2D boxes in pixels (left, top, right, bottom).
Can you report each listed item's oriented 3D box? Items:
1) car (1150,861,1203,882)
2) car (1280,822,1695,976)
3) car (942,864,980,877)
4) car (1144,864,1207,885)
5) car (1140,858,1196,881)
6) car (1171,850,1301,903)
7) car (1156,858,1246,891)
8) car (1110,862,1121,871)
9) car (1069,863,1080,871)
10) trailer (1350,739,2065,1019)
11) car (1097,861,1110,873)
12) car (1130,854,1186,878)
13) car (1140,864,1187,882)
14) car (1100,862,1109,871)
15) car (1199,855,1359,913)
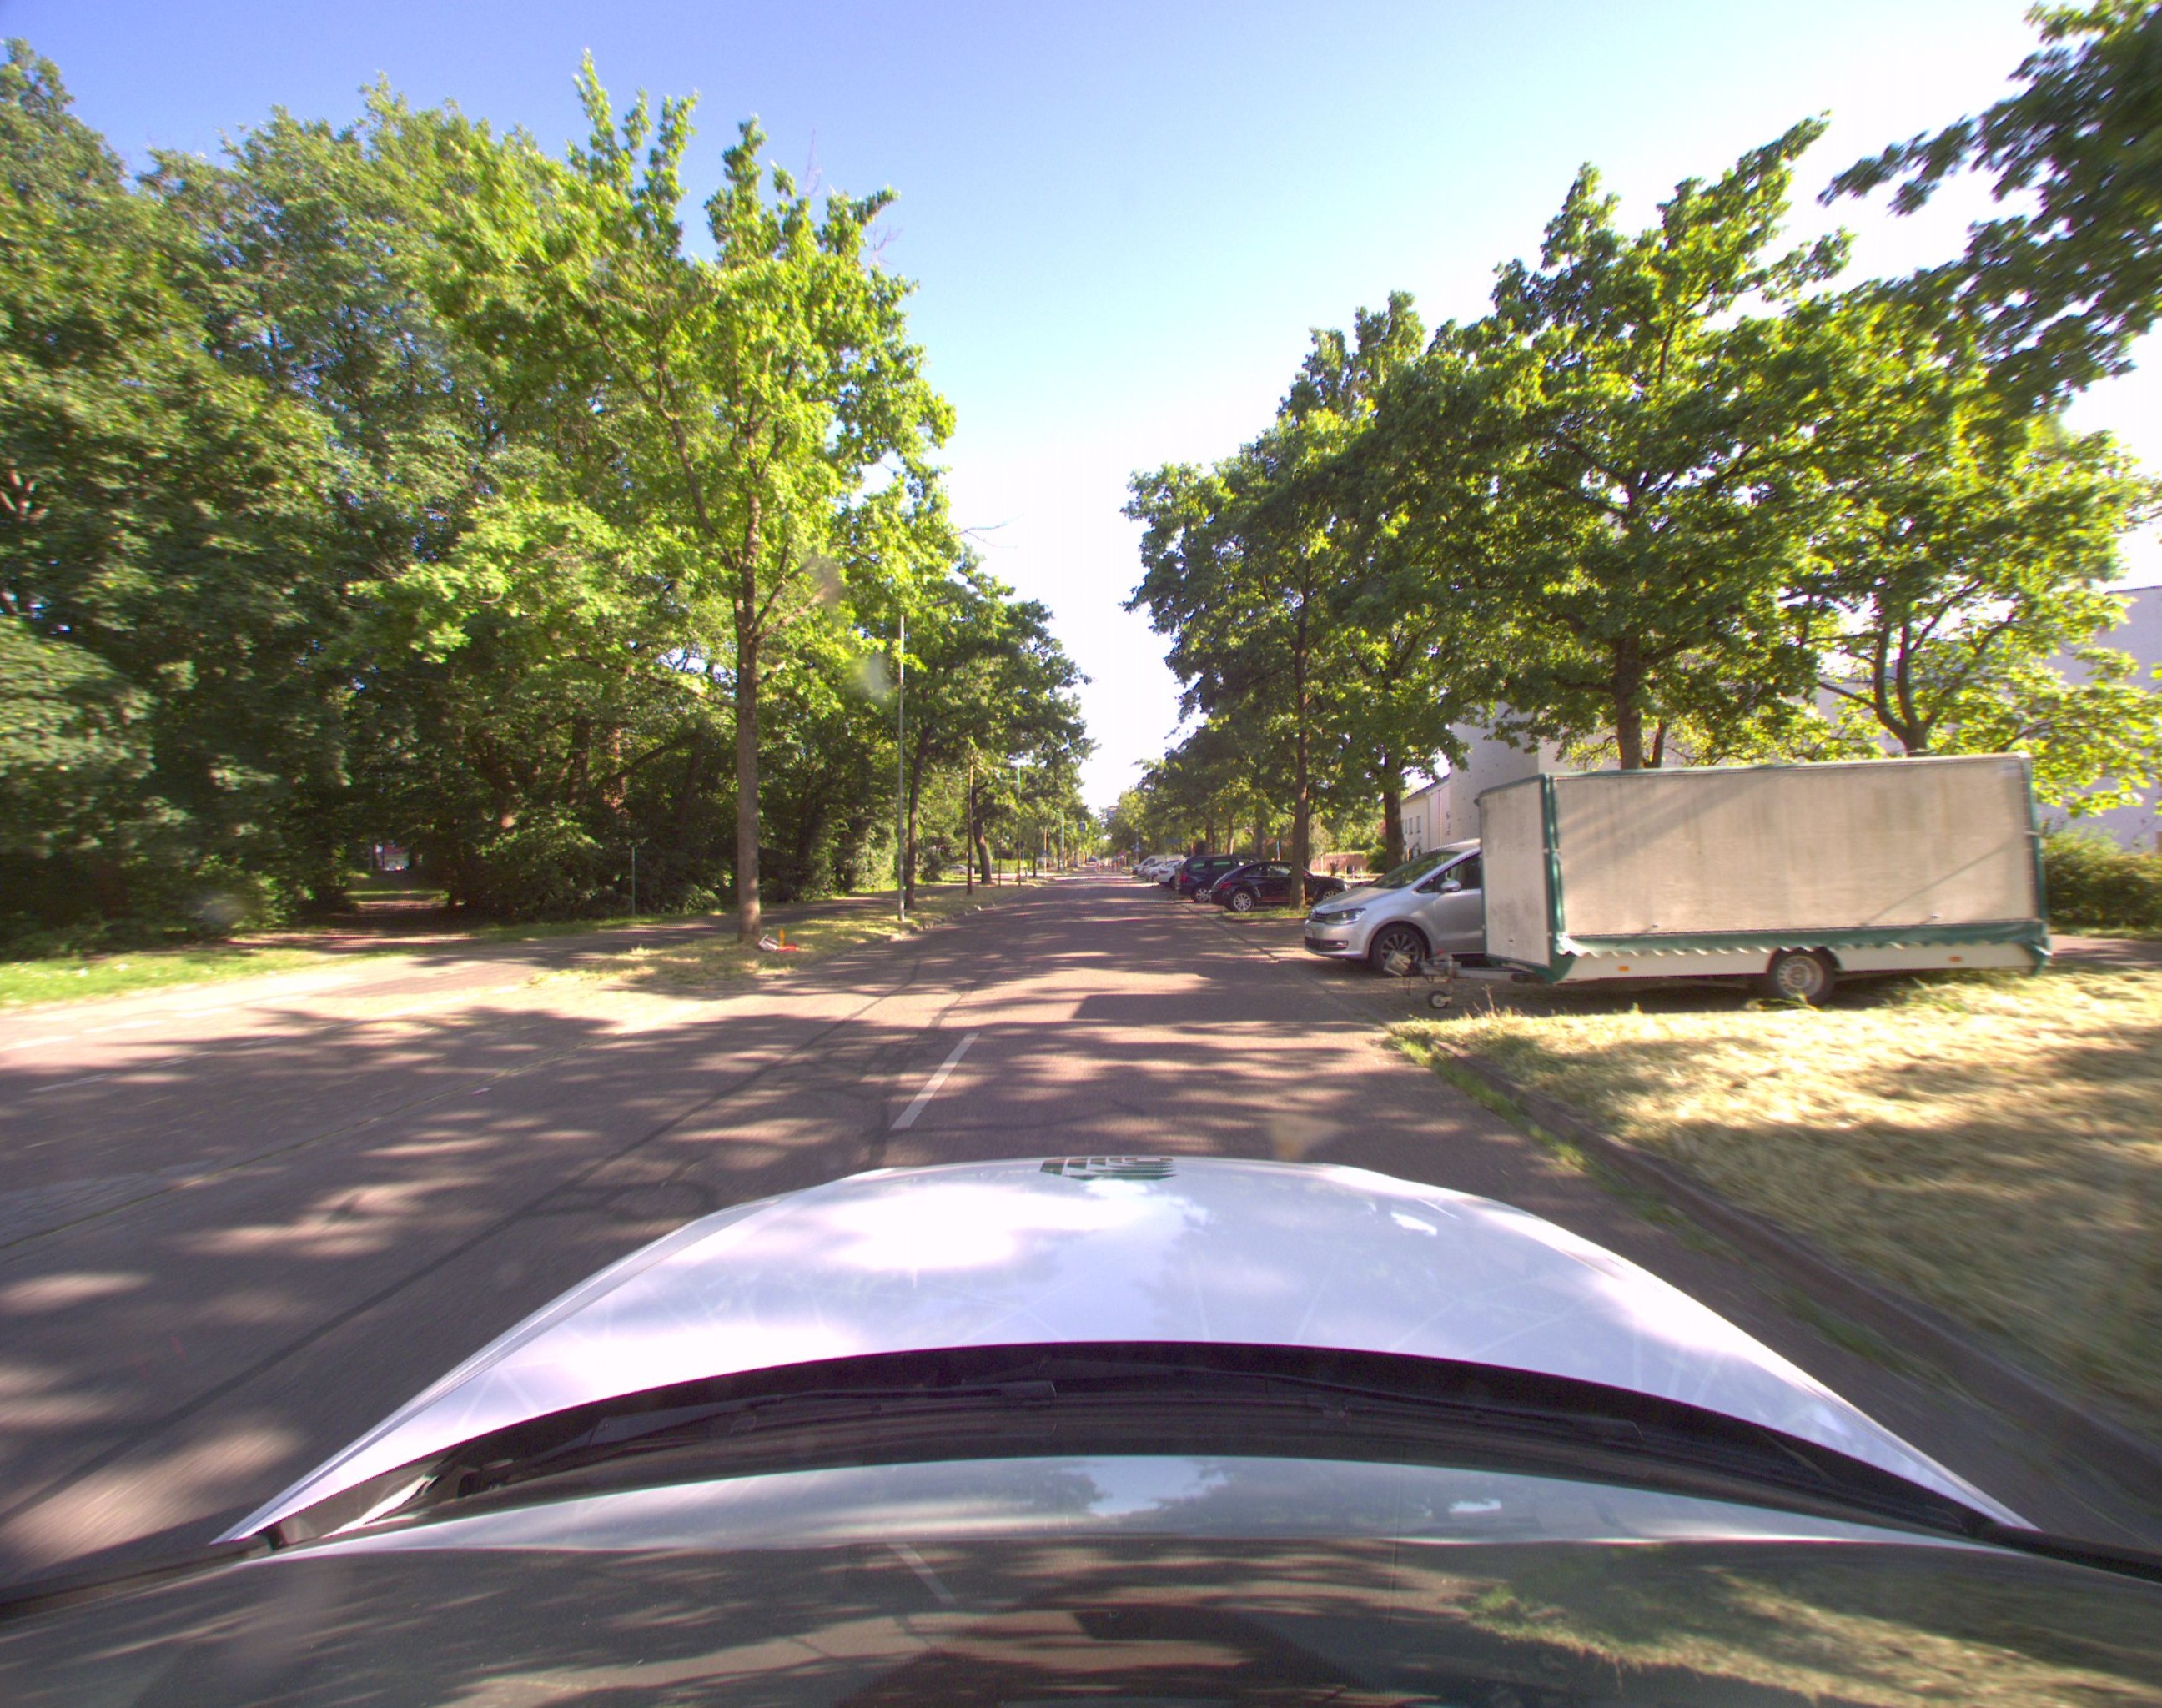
[{"bbox_3d":[7.363,1.338,63.121,3.871,1.497,1.777,-2,-1,0],"label":"car"},{"bbox_3d":[5.264,0.576,11.100,4.624,1.722,1.988,-2,-1,2],"label":"car"},{"bbox_3d":[-13.915,1.929,94.501,3.963,1.484,2.005,-1,-1,9],"label":"car"},{"bbox_3d":[6.904,1.483,60.057,4.429,1.390,1.911,-1,-1,1],"label":"car"},{"bbox_3d":[7.210,1.277,67.665,4.370,1.651,1.850,-2,-1,-1],"label":"car"},{"bbox_3d":[5.748,0.830,30.588,4.513,1.801,1.937,-2,-1,1],"label":"car"},{"bbox_3d":[6.551,1.102,44.751,4.653,1.580,1.917,-2,-1,2],"label":"car"},{"bbox_3d":[6.468,2.300,154.795,1.986,1.717,4.001,0,-1,1],"label":"car"},{"bbox_3d":[-1.291,2.590,161.363,1.986,1.717,4.001,0,-1,1],"label":"car"},{"bbox_3d":[5.936,0.258,8.294,5.750,2.318,1.687,-3,-1,3],"label":"trailer"},{"bbox_3d":[3.711,2.094,133.991,1.986,1.933,4.001,0,-1,1],"label":"car"},{"bbox_3d":[7.368,1.146,77.983,5.170,2.105,2.082,-1,-1,0],"label":"car"},{"bbox_3d":[7.093,1.628,70.164,3.970,1.433,1.902,-1,-1,3],"label":"car"},{"bbox_3d":[5.376,2.852,184.396,1.986,1.969,4.001,0,-1,1],"label":"car"},{"bbox_3d":[5.723,0.864,23.972,4.228,1.519,2.079,-2,-1,2],"label":"car"}]
